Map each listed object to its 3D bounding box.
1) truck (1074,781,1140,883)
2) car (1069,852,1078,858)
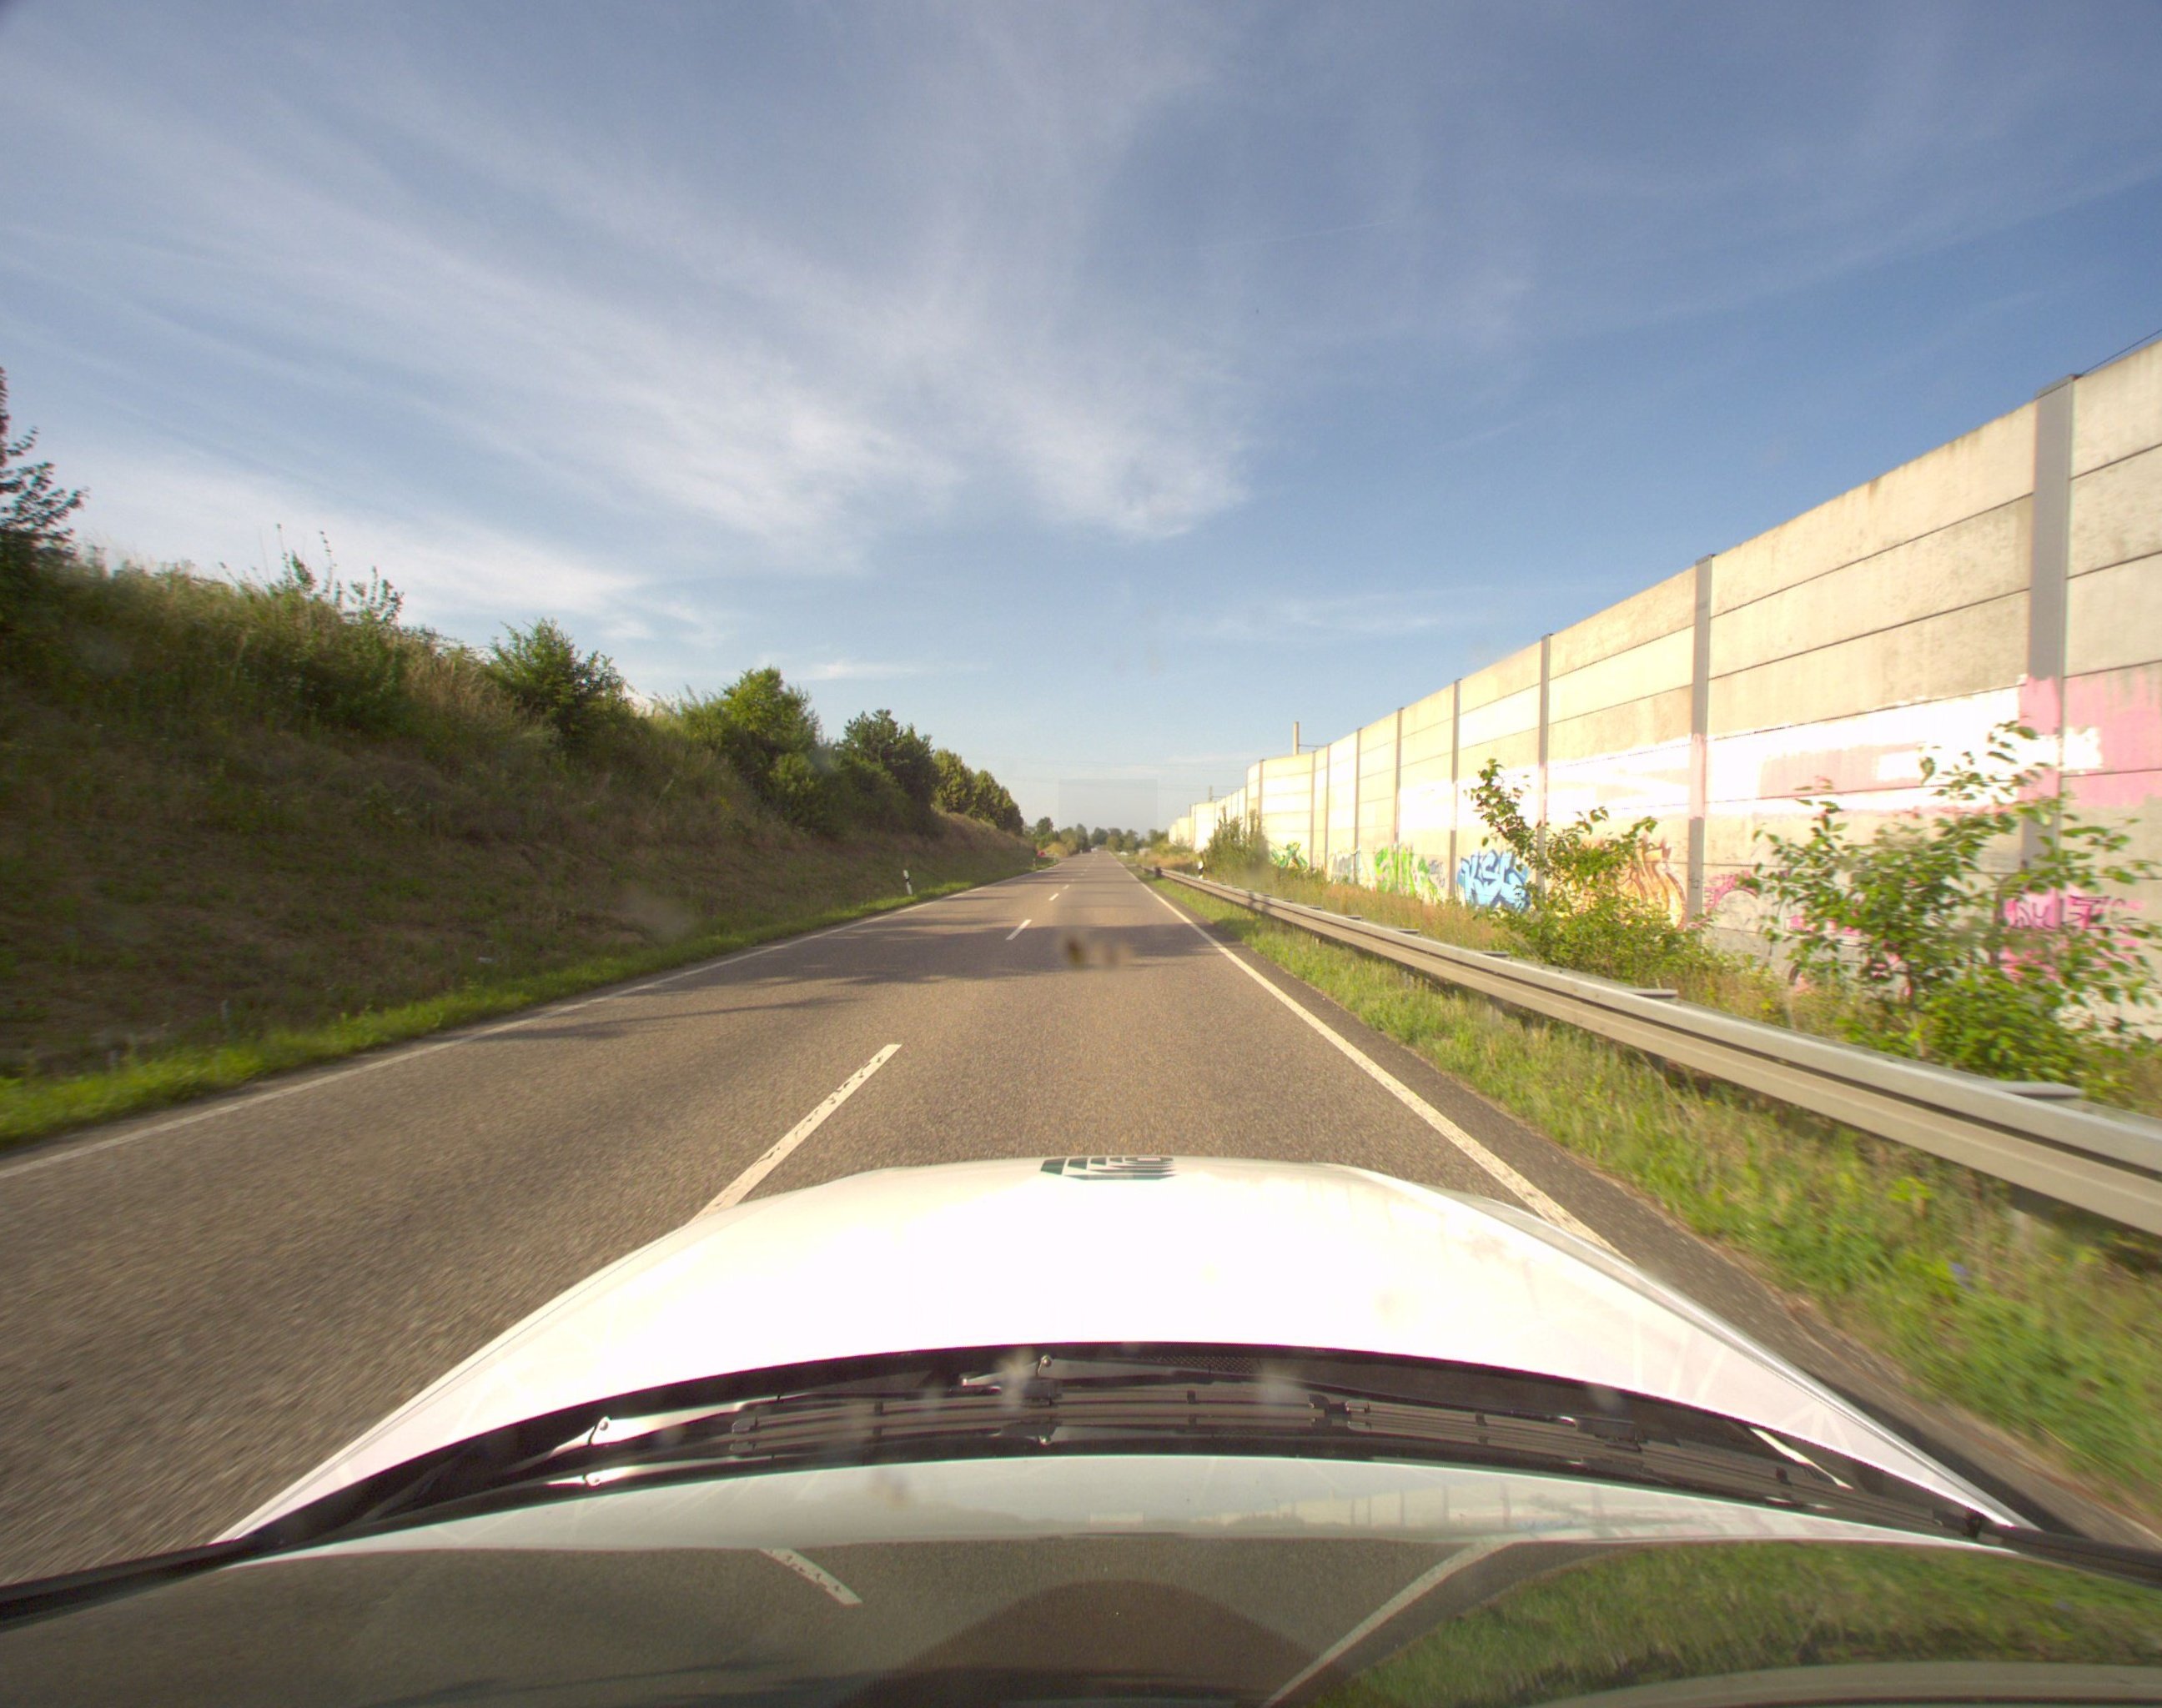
[{"bbox_3d":[1.293,-1.146,46.694,3.280,5.089,12.036,0,1,0],"label":"truck"},{"bbox_3d":[-1.976,0.195,205.665,2.039,1.581,4.361,0,0,2],"label":"car"}]
